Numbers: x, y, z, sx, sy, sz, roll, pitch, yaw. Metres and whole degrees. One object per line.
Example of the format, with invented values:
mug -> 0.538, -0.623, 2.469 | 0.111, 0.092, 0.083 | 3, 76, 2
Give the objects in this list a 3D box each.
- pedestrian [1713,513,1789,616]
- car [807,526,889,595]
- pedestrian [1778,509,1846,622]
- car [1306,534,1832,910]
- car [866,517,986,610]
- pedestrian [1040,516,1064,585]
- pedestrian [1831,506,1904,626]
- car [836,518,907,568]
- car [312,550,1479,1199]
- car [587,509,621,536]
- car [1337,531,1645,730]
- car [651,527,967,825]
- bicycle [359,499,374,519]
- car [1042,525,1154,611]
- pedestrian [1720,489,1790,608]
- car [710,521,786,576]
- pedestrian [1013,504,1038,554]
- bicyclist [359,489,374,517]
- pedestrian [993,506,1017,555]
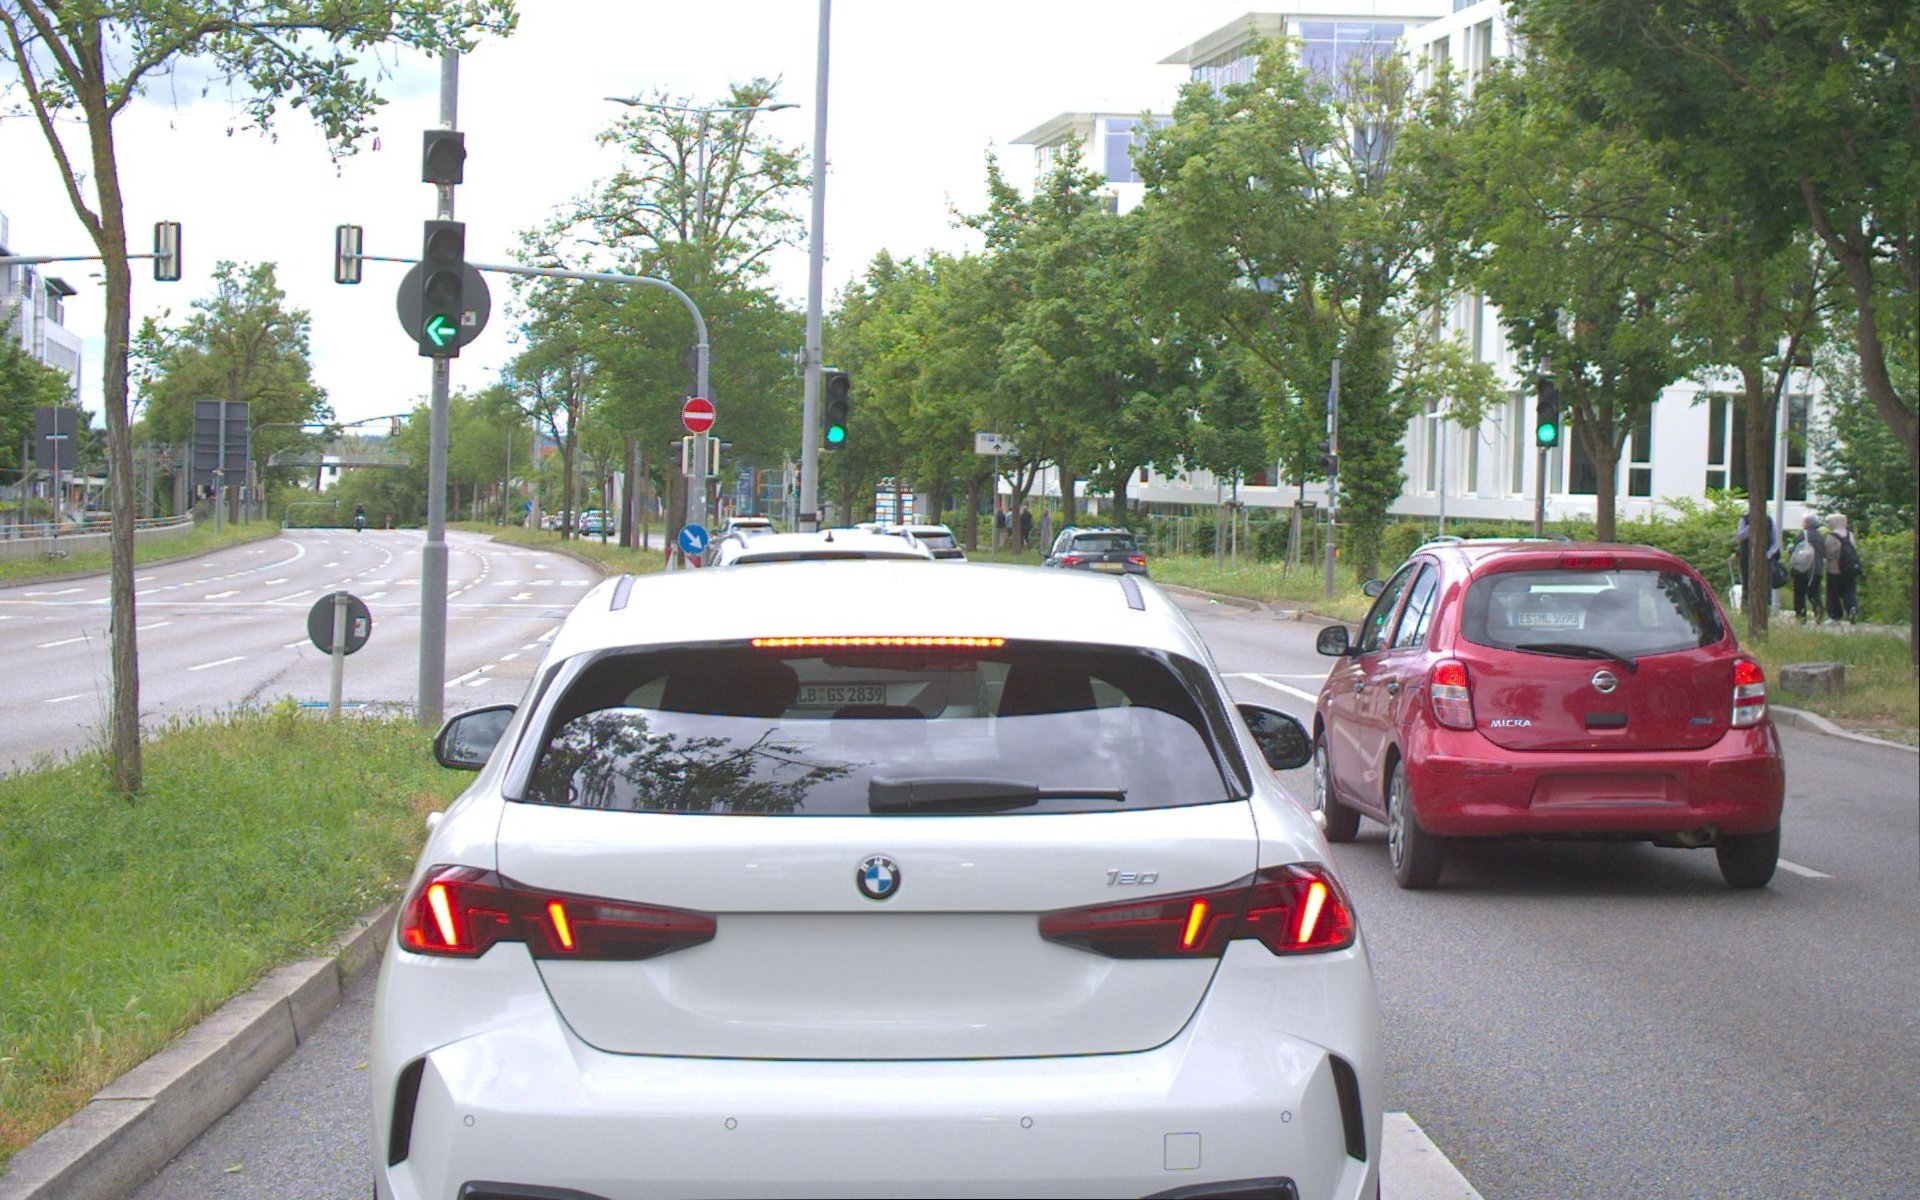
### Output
pedestrian -> 11.242, -0.502, 48.885 | 0.789, 1.443, 1.112 | 1, 0, -1
car -> -2.484, -0.890, 75.825 | 1.605, 1.463, 3.676 | 1, 1, -5
pedestrian -> 12.147, -0.492, 49.036 | 0.699, 1.590, 0.883 | 1, 0, -1
car -> 2.705, 0.468, 16.105 | 1.716, 1.553, 3.858 | 0, 1, -1
car -> -0.644, -0.670, 61.129 | 1.854, 1.590, 4.314 | 0, 1, -4
pedestrian -> 3.520, -1.889, 130.909 | 0.831, 2.618, 0.646 | 1, 1, -1
pedestrian -> 12.931, -0.480, 48.987 | 0.767, 1.679, 0.883 | 1, 0, -1
car -> -2.600, -1.674, 100.373 | 1.653, 1.420, 3.536 | 0, 1, -9
car -> -0.128, 0.636, 7.436 | 1.822, 1.433, 4.000 | 1, 1, -1
car -> -22.627, -4.912, 218.490 | 1.993, 1.664, 4.001 | -1, 1, -9
car -> 4.391, 0.203, 28.997 | 1.715, 1.550, 4.090 | 1, 1, -4
car -> -0.981, 0.368, 20.339 | 1.549, 1.563, 4.001 | 1, 1, -7
bicycle -> -34.925, -5.346, 202.133 | 0.810, 1.100, 2.557 | 1, 1, -11
car -> 2.509, -0.571, 63.434 | 1.657, 1.507, 4.000 | 1, 0, -3
pedestrian -> 10.613, -0.687, 45.907 | 0.741, 1.568, 0.674 | 1, 0, -1
car -> -6.416, -1.570, 103.569 | 1.891, 1.590, 4.315 | 1, 1, -8
pedestrian -> 2.638, -2.880, 139.007 | 0.848, 2.007, 0.606 | 1, 1, -15
bicyclist -> -34.929, -5.707, 202.220 | 0.810, 1.647, 1.189 | 1, 0, -11
pedestrian -> 1.844, -2.861, 141.031 | 0.762, 2.007, 0.754 | 1, 0, -15
